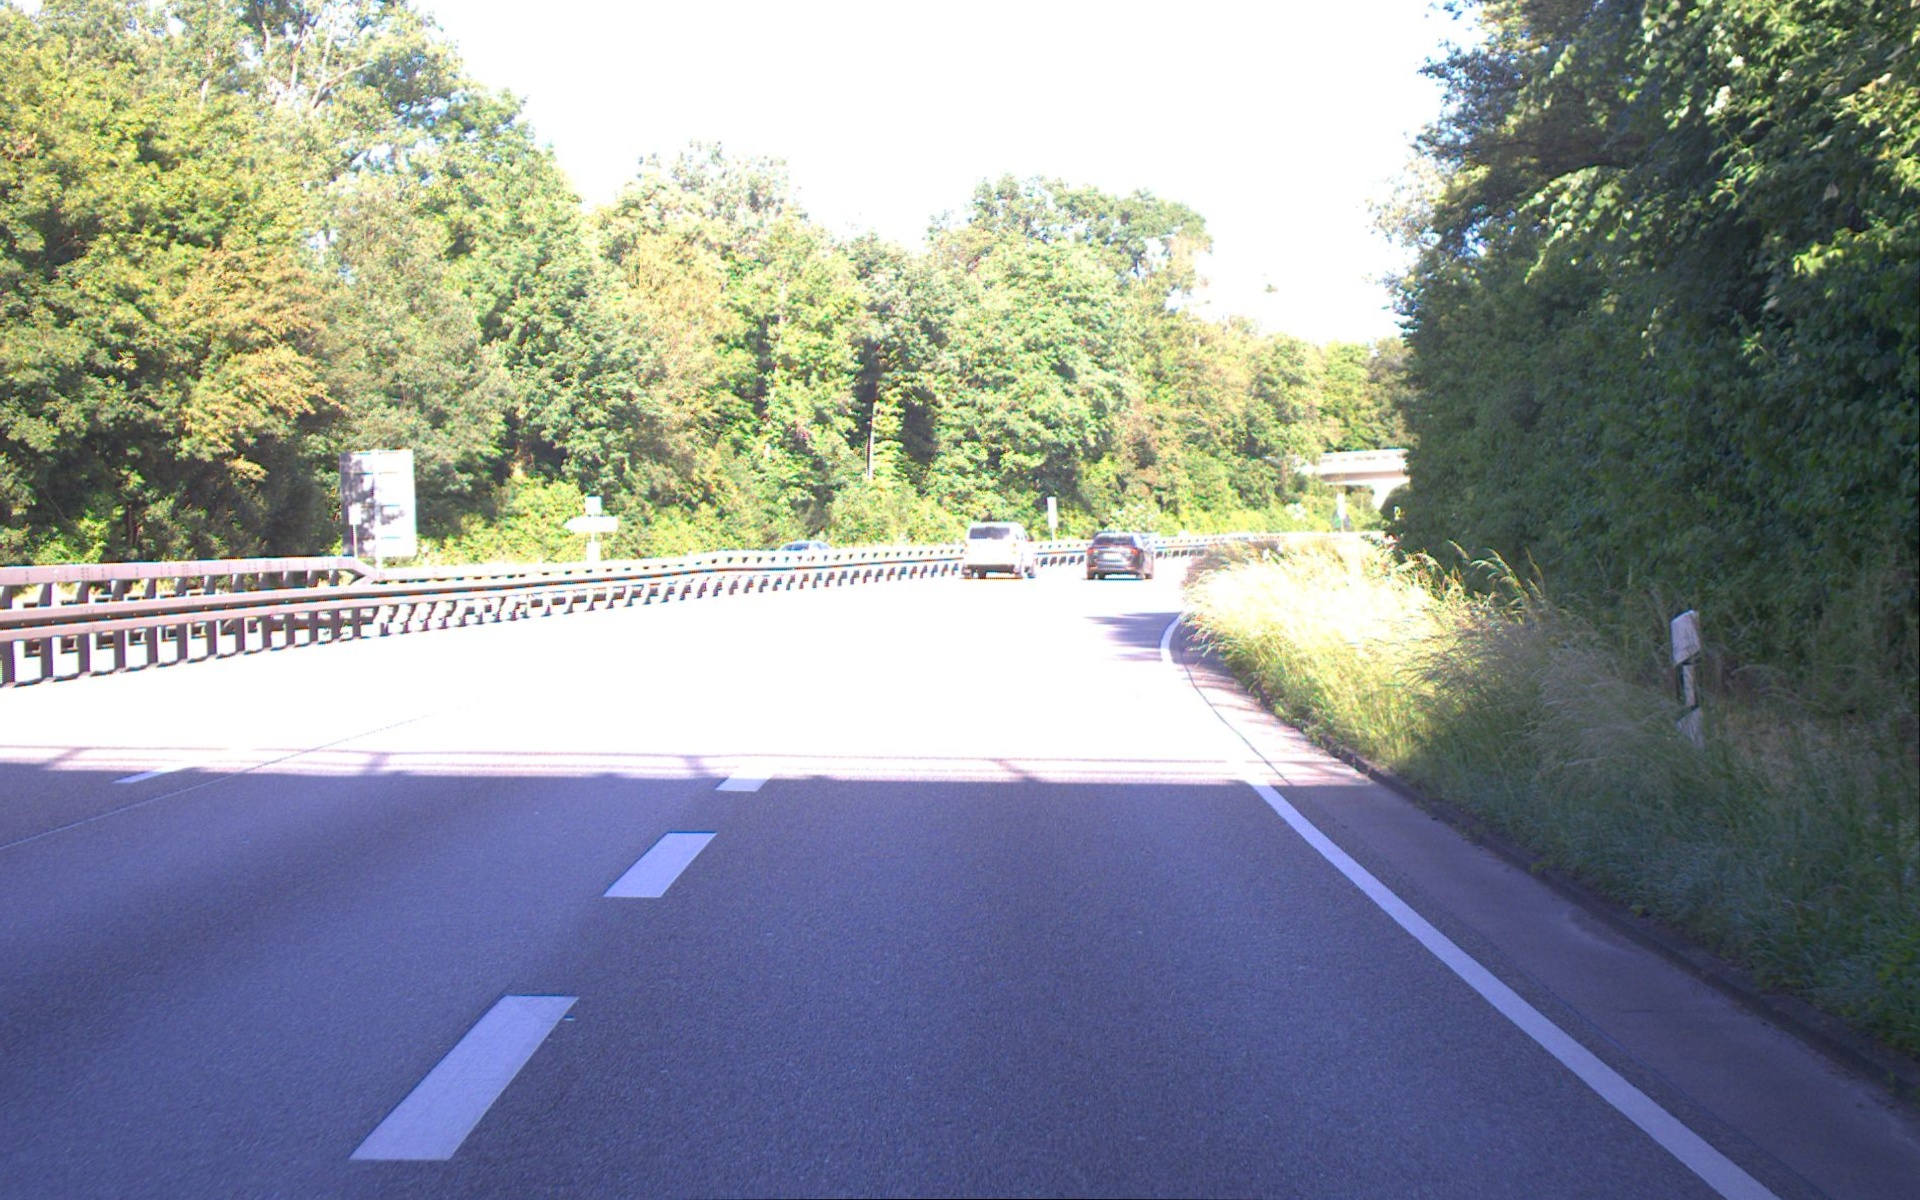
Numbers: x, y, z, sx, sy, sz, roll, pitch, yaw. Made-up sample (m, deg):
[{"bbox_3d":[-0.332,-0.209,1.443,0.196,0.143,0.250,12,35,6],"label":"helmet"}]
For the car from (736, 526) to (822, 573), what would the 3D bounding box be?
[{"bbox_3d":[-8.032,-2.242,153.203,1.996,2.007,4.623,0,0,23],"label":"car"}]

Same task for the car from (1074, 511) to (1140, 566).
[{"bbox_3d":[4.639,-1.933,108.021,1.739,1.656,3.945,-1,1,7],"label":"car"}]

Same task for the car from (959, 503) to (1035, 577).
[{"bbox_3d":[1.175,-1.892,108.083,1.994,2.269,3.999,-1,1,6],"label":"car"}]
